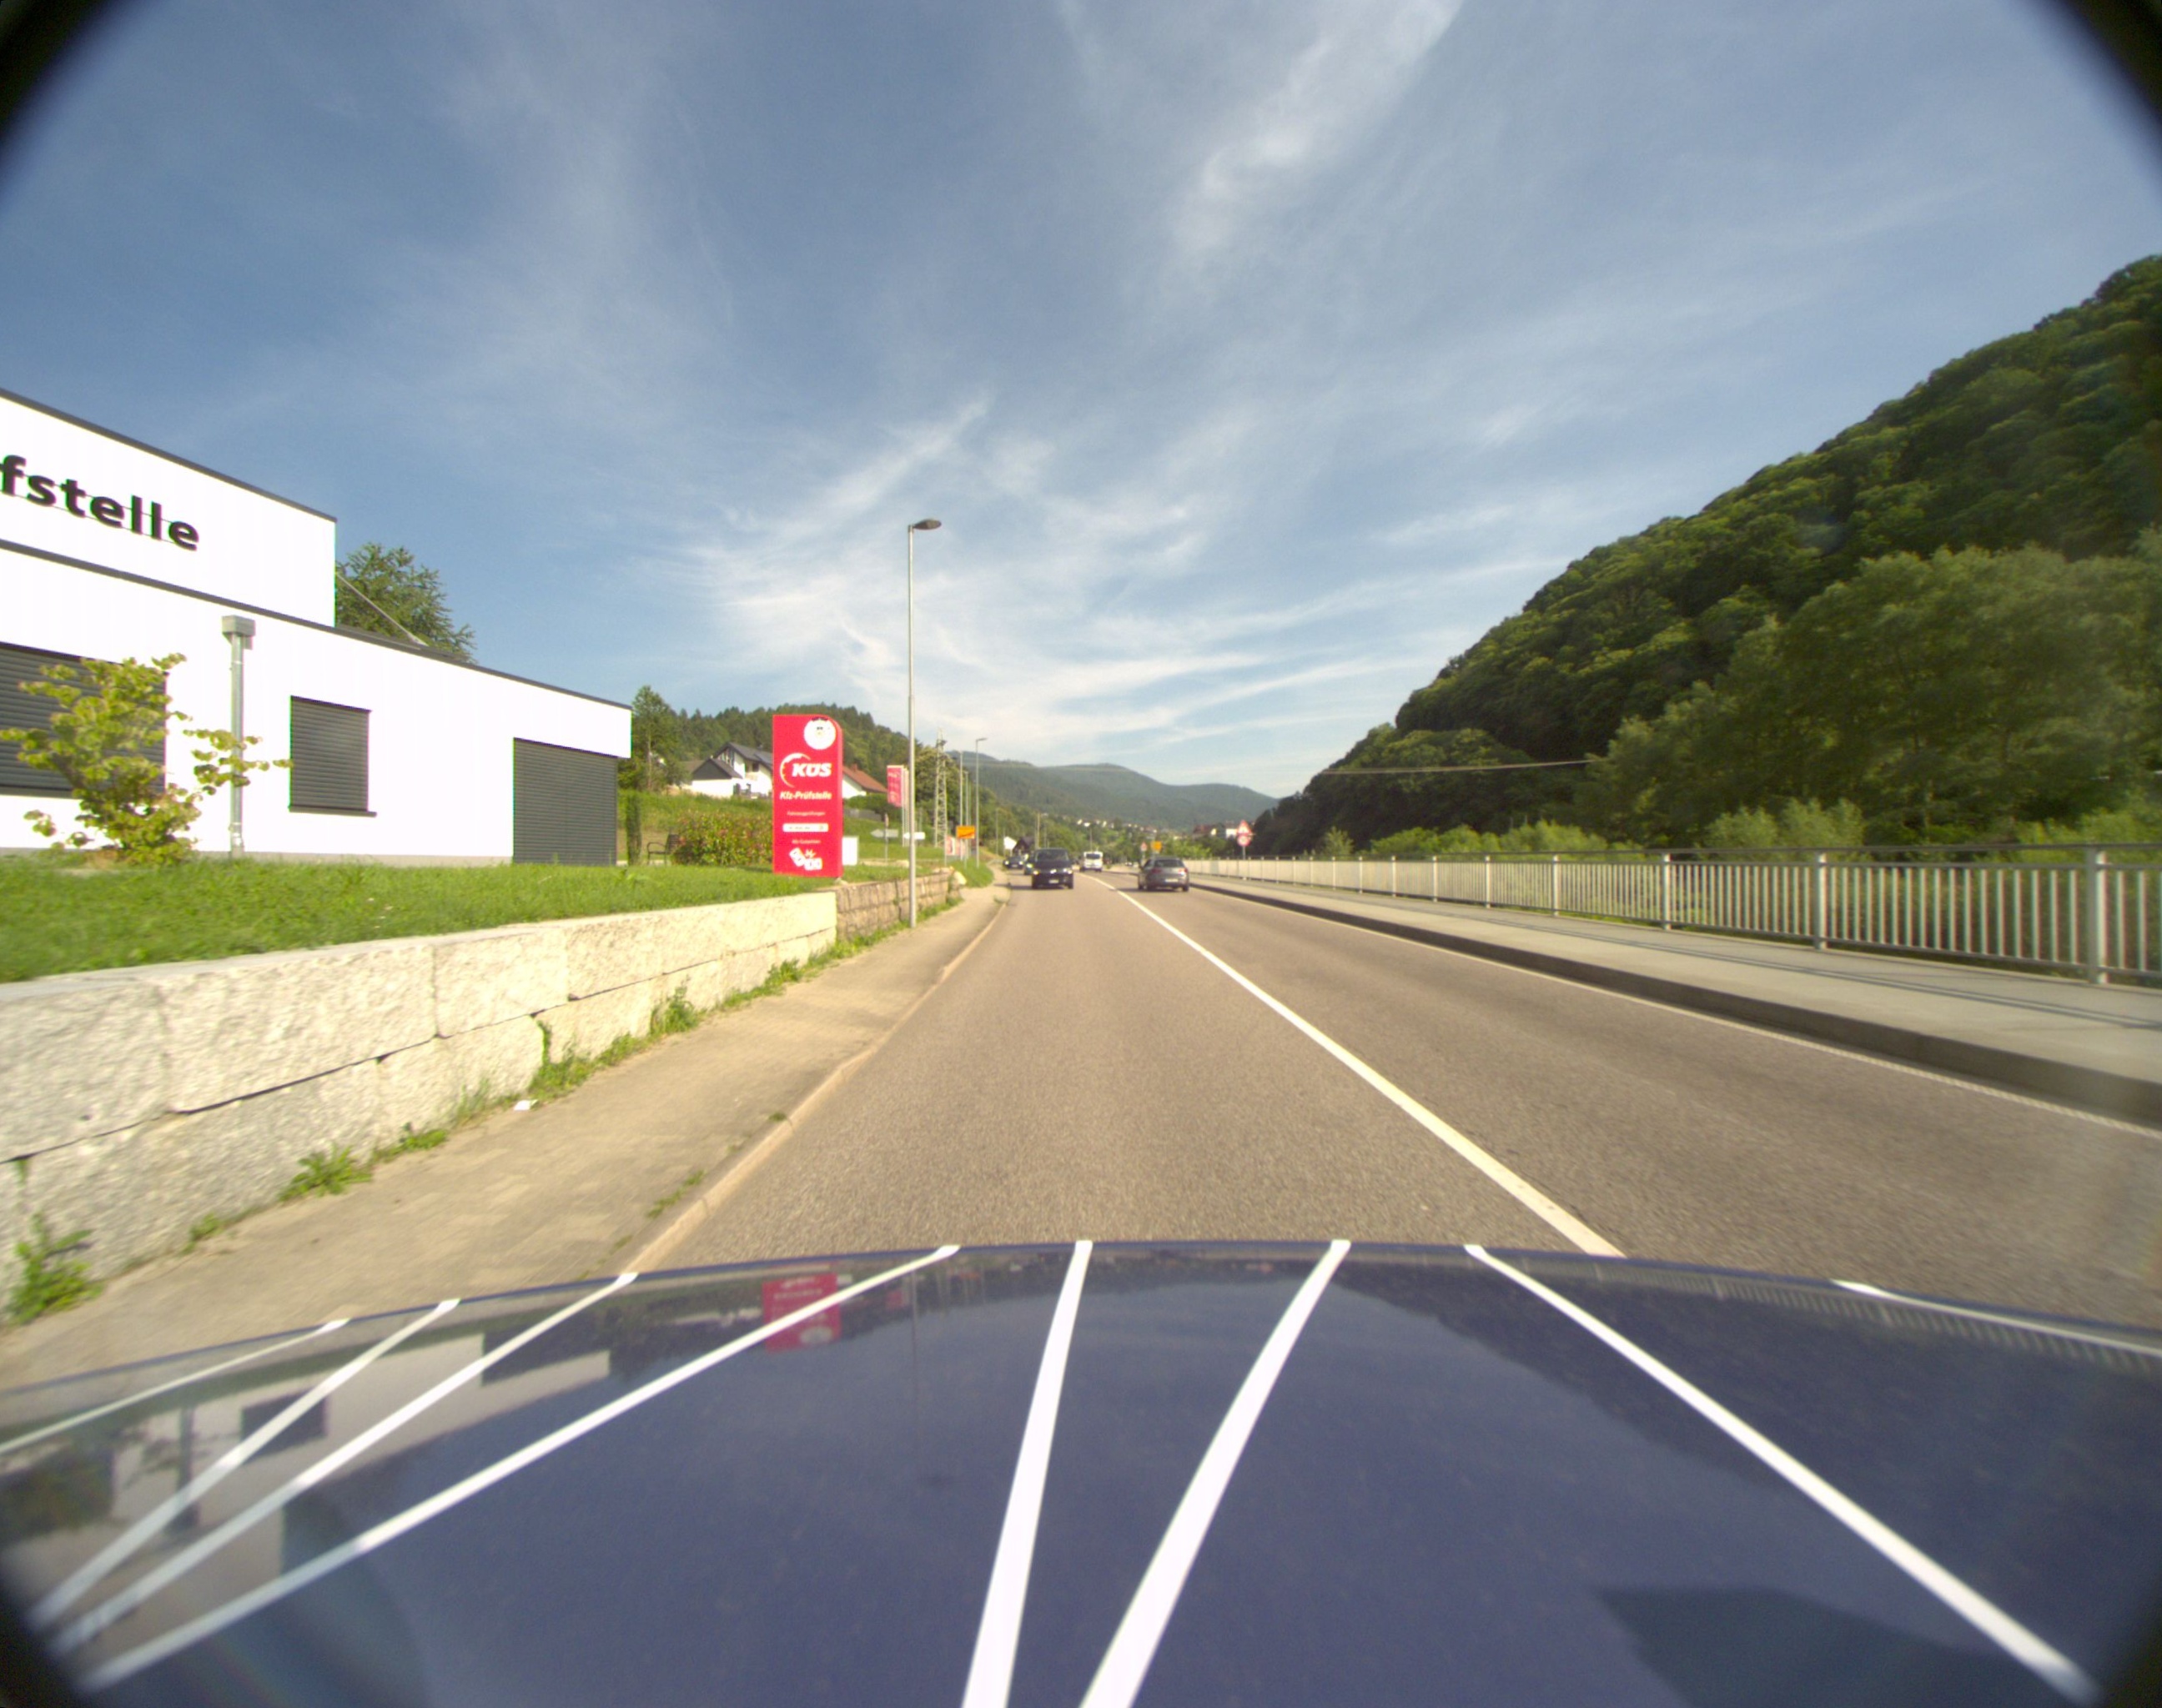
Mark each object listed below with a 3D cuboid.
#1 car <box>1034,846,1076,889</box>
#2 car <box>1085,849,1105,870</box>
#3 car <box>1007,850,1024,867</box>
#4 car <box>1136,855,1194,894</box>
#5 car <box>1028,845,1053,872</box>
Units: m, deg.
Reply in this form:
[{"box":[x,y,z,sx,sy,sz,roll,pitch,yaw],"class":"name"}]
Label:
[{"box":[-1.273,0.618,36.444,1.866,1.936,4.637,0,0,-3],"class":"car"},{"box":[1.351,0.494,75.043,1.925,1.956,5.145,0,1,0],"class":"car"},{"box":[-6.632,0.480,76.851,1.614,1.622,3.820,-1,-1,-6],"class":"car"},{"box":[3.464,0.810,32.200,1.818,1.475,4.797,-1,0,-1],"class":"car"},{"box":[-3.075,0.372,58.174,1.613,2.001,3.823,-1,-1,1],"class":"car"}]
